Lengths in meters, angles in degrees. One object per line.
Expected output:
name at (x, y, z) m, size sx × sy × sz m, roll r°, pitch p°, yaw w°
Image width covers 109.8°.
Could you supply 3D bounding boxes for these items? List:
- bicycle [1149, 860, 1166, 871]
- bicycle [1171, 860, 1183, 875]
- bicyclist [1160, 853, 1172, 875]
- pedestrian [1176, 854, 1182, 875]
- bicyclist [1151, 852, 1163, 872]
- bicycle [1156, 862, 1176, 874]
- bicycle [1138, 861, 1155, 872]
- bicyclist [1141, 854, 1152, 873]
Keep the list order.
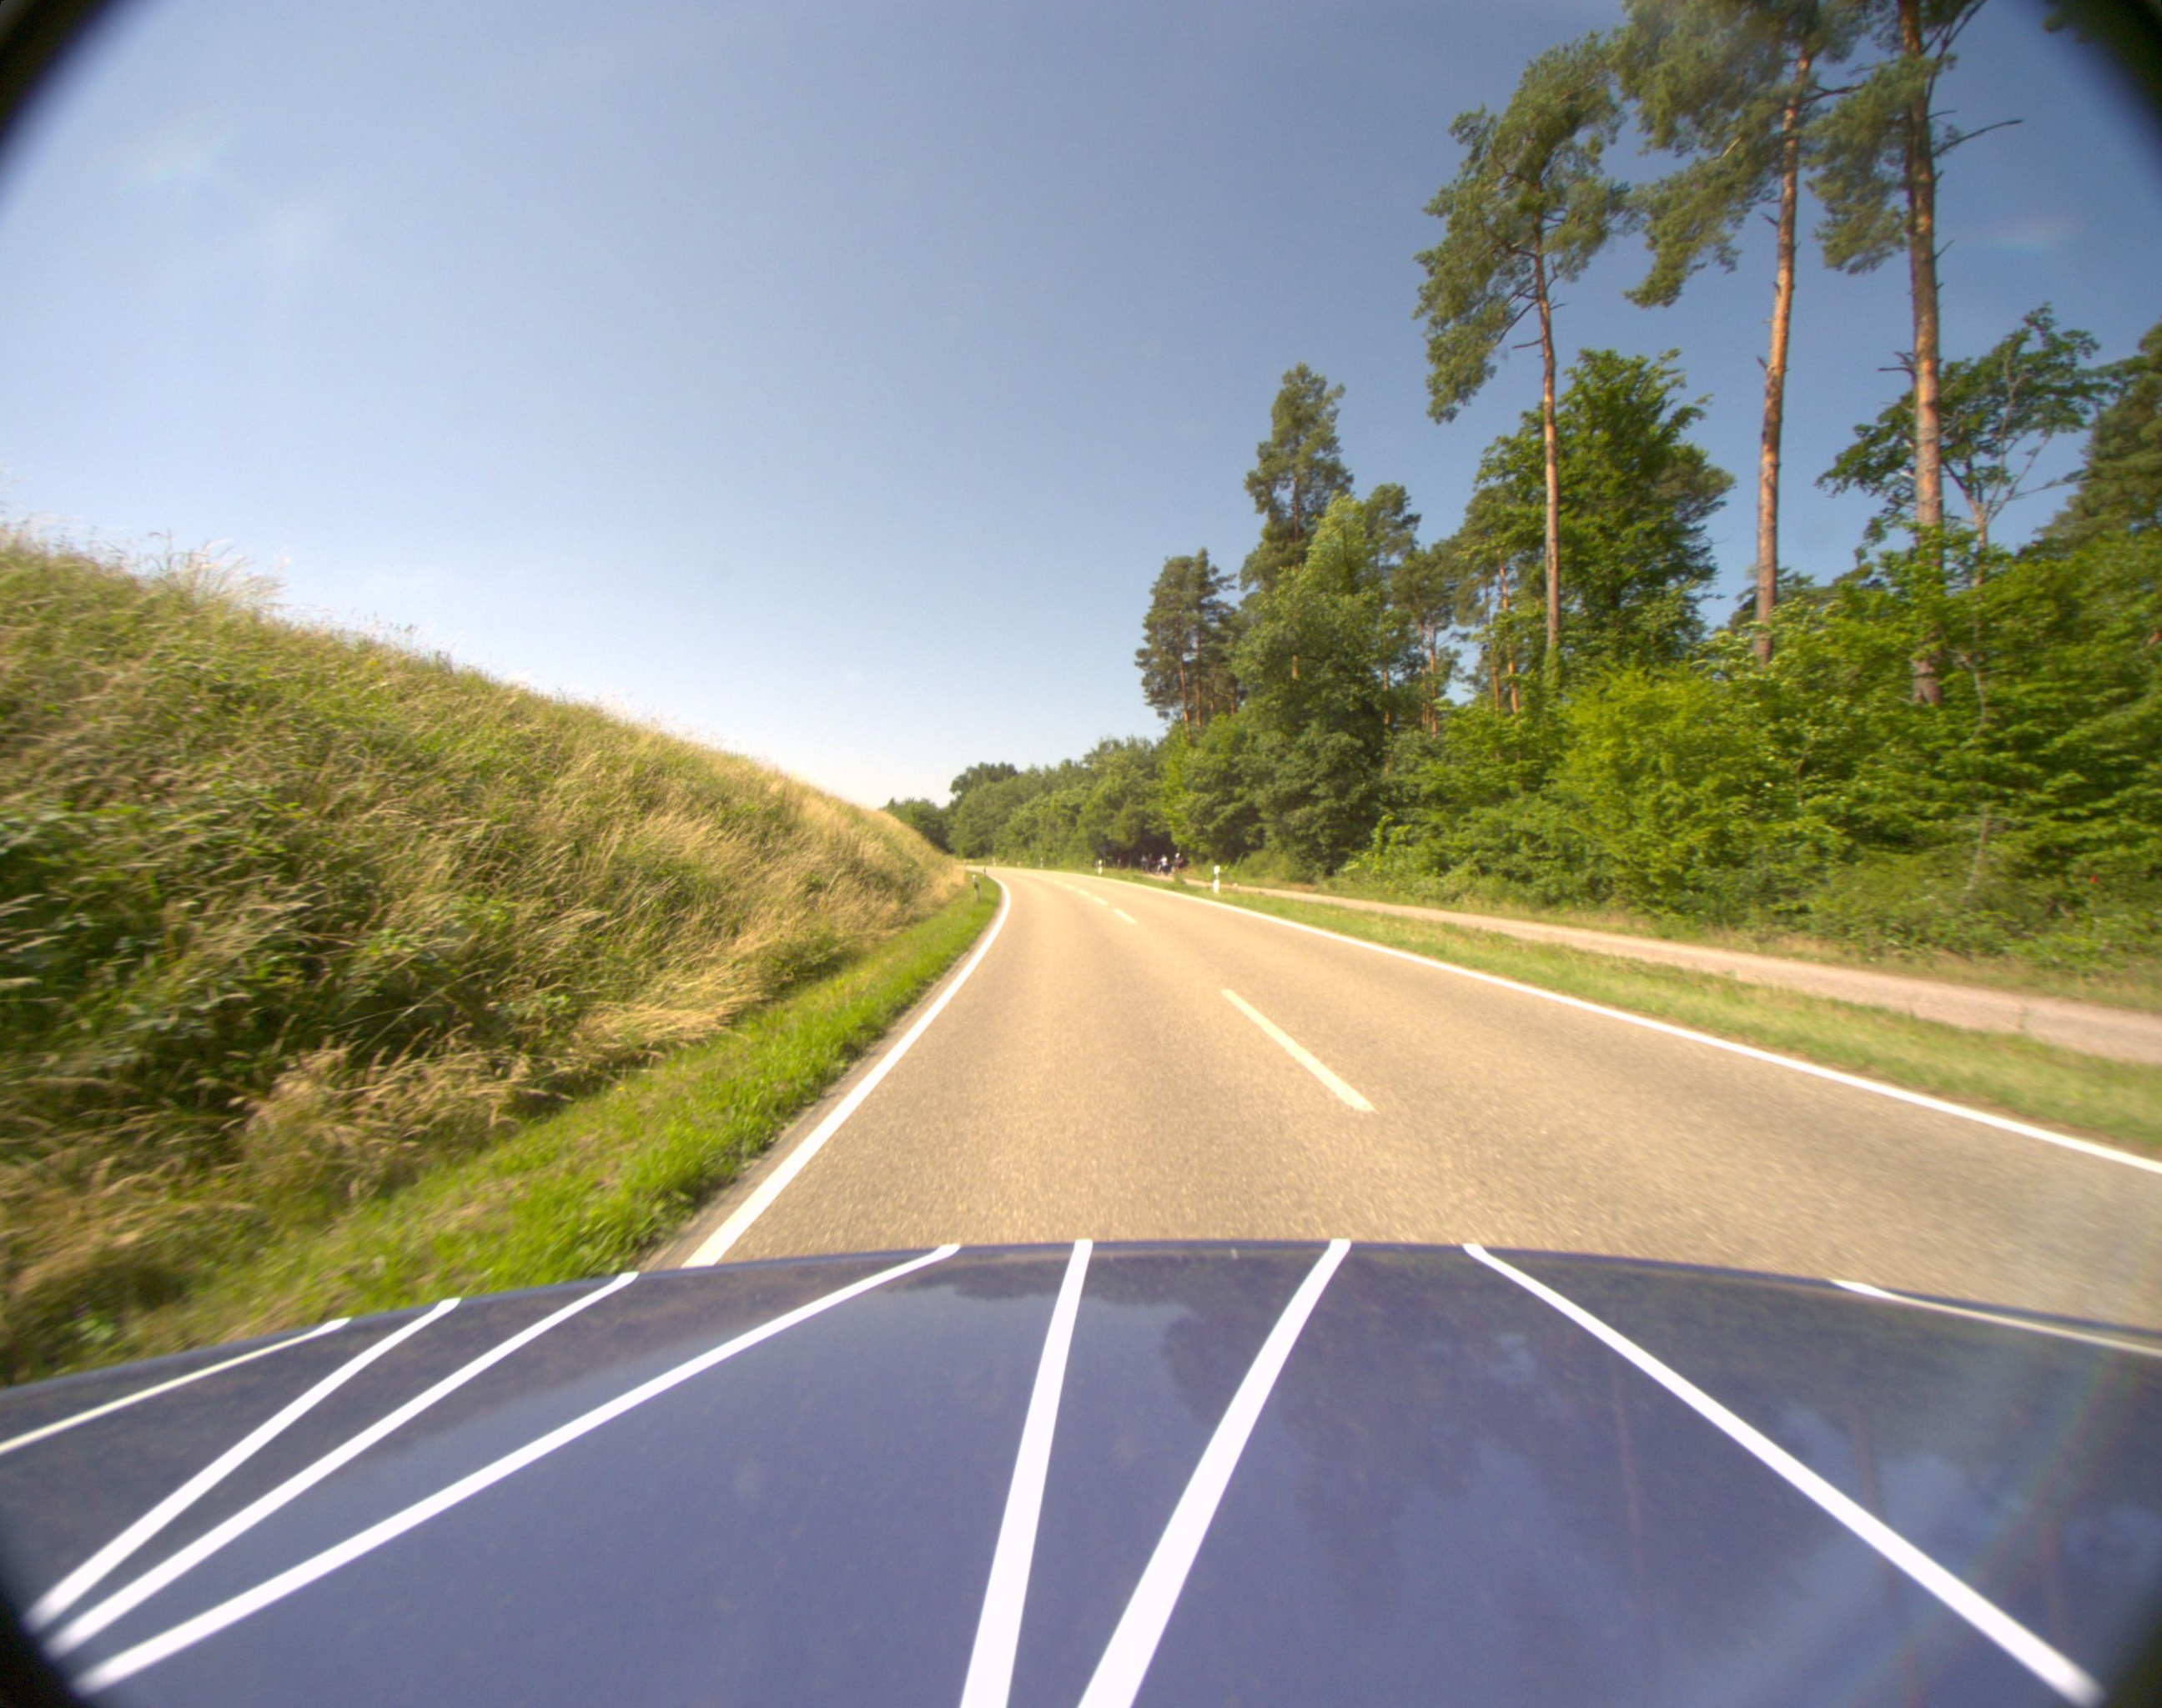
bicycle at (6.647, 1.025, 65.660) m, size 0.604 × 0.825 × 1.988 m, roll -1°, pitch 2°, yaw 32°
bicycle at (7.172, 0.978, 56.703) m, size 0.581 × 1.080 × 1.449 m, roll -3°, pitch -1°, yaw 17°
bicyclist at (6.855, 0.819, 61.422) m, size 0.604 × 1.709 × 0.791 m, roll 0°, pitch 3°, yaw 39°
pedestrian at (7.306, 0.779, 56.592) m, size 0.285 × 1.529 × 0.390 m, roll -1°, pitch 1°, yaw -17°
bicyclist at (6.548, 0.700, 65.488) m, size 0.604 × 1.691 × 0.852 m, roll -1°, pitch 2°, yaw 32°
bicycle at (6.856, 1.126, 61.410) m, size 0.604 × 0.825 × 1.989 m, roll 0°, pitch 2°, yaw 39°
bicycle at (5.681, 1.058, 65.992) m, size 0.604 × 0.825 × 1.988 m, roll -1°, pitch 2°, yaw 32°
bicyclist at (5.676, 0.822, 65.976) m, size 0.604 × 1.537 × 0.873 m, roll -1°, pitch 2°, yaw 32°
